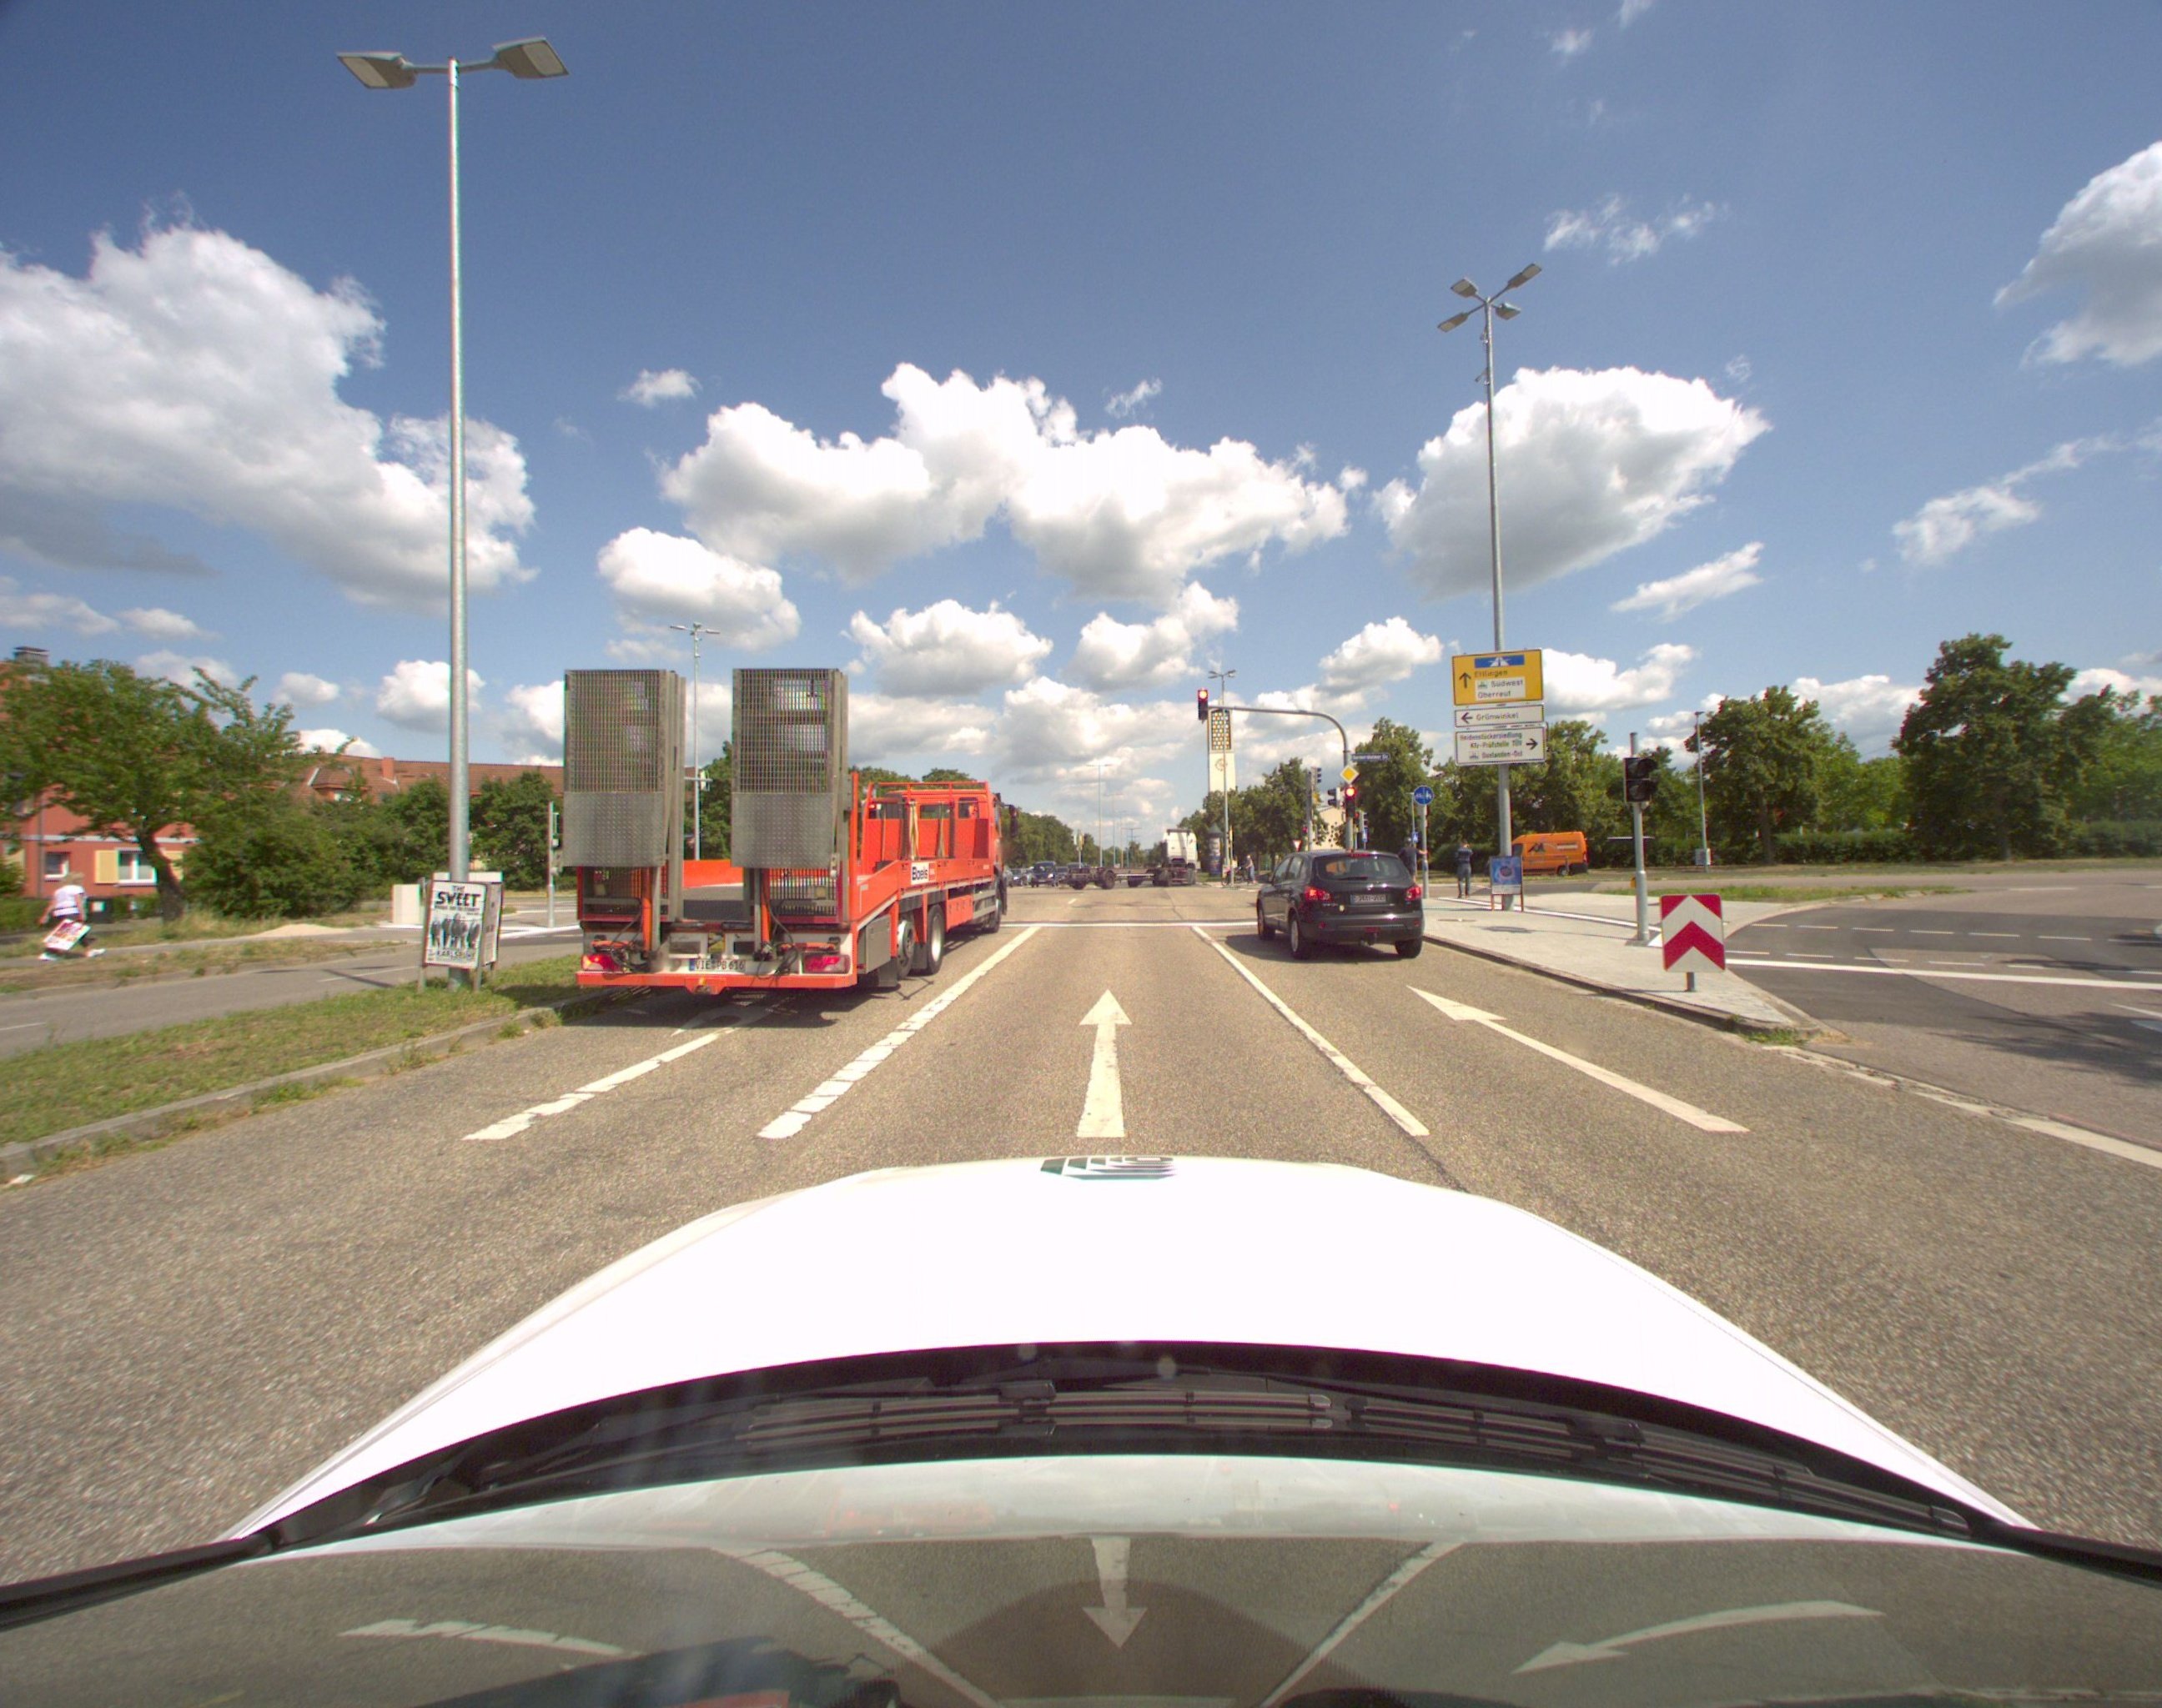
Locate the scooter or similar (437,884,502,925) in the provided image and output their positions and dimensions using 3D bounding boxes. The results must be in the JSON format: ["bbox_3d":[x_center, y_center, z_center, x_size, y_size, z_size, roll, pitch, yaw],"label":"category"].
[{"bbox_3d":[-18.637,1.512,24.851,0.587,1.164,1.762,1,-1,1],"label":"scooter or similar"}]

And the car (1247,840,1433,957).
[{"bbox_3d":[3.884,0.641,12.930,1.793,1.552,4.001,1,-1,2],"label":"car"}]

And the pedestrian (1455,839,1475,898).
[{"bbox_3d":[11.695,0.443,24.805,0.461,1.779,0.484,0,-2,13],"label":"pedestrian"}]

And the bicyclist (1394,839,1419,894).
[{"bbox_3d":[9.885,0.382,24.739,0.643,1.661,0.653,0,-2,17],"label":"bicyclist"}]

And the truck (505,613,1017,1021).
[{"bbox_3d":[-3.116,-0.203,12.395,3.059,3.414,11.071,1,-1,2],"label":"truck"}]

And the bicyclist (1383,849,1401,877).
[{"bbox_3d":[19.919,0.571,52.178,0.786,1.804,0.684,-1,-1,-8],"label":"bicyclist"}]

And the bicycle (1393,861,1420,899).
[{"bbox_3d":[9.938,0.798,24.915,0.643,1.108,1.936,0,-1,17],"label":"bicycle"}]

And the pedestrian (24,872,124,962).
[{"bbox_3d":[-18.469,1.133,14.959,0.693,1.583,0.851,1,-2,1],"label":"pedestrian"}]

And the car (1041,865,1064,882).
[{"bbox_3d":[-2.205,1.553,64.321,1.562,1.316,3.432,1,-1,1],"label":"car"}]

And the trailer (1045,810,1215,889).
[{"bbox_3d":[3.124,-0.144,46.550,3.585,4.012,11.389,-2,-2,40],"label":"trailer"}]

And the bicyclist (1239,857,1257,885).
[{"bbox_3d":[9.873,1.012,48.254,0.701,1.616,0.792,-1,-1,-20],"label":"bicyclist"}]

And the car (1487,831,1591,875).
[{"bbox_3d":[24.573,-0.010,43.746,4.797,2.226,2.225,0,-2,32],"label":"car"}]

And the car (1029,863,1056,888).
[{"bbox_3d":[-2.647,1.493,56.550,1.730,1.660,4.228,1,-1,-1],"label":"car"}]

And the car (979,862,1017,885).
[{"bbox_3d":[-5.794,1.377,57.391,1.725,1.543,4.317,0,-1,8],"label":"car"}]

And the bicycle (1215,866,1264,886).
[{"bbox_3d":[9.354,1.308,48.057,2.843,1.112,0.792,-1,-1,-21],"label":"bicycle"}]

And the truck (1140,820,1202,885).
[{"bbox_3d":[6.174,0.007,54.565,2.938,3.971,8.669,-1,-1,14],"label":"truck"}]

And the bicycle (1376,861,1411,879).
[{"bbox_3d":[19.998,1.019,52.178,1.996,1.093,0.684,-1,-1,-8],"label":"bicycle"}]
